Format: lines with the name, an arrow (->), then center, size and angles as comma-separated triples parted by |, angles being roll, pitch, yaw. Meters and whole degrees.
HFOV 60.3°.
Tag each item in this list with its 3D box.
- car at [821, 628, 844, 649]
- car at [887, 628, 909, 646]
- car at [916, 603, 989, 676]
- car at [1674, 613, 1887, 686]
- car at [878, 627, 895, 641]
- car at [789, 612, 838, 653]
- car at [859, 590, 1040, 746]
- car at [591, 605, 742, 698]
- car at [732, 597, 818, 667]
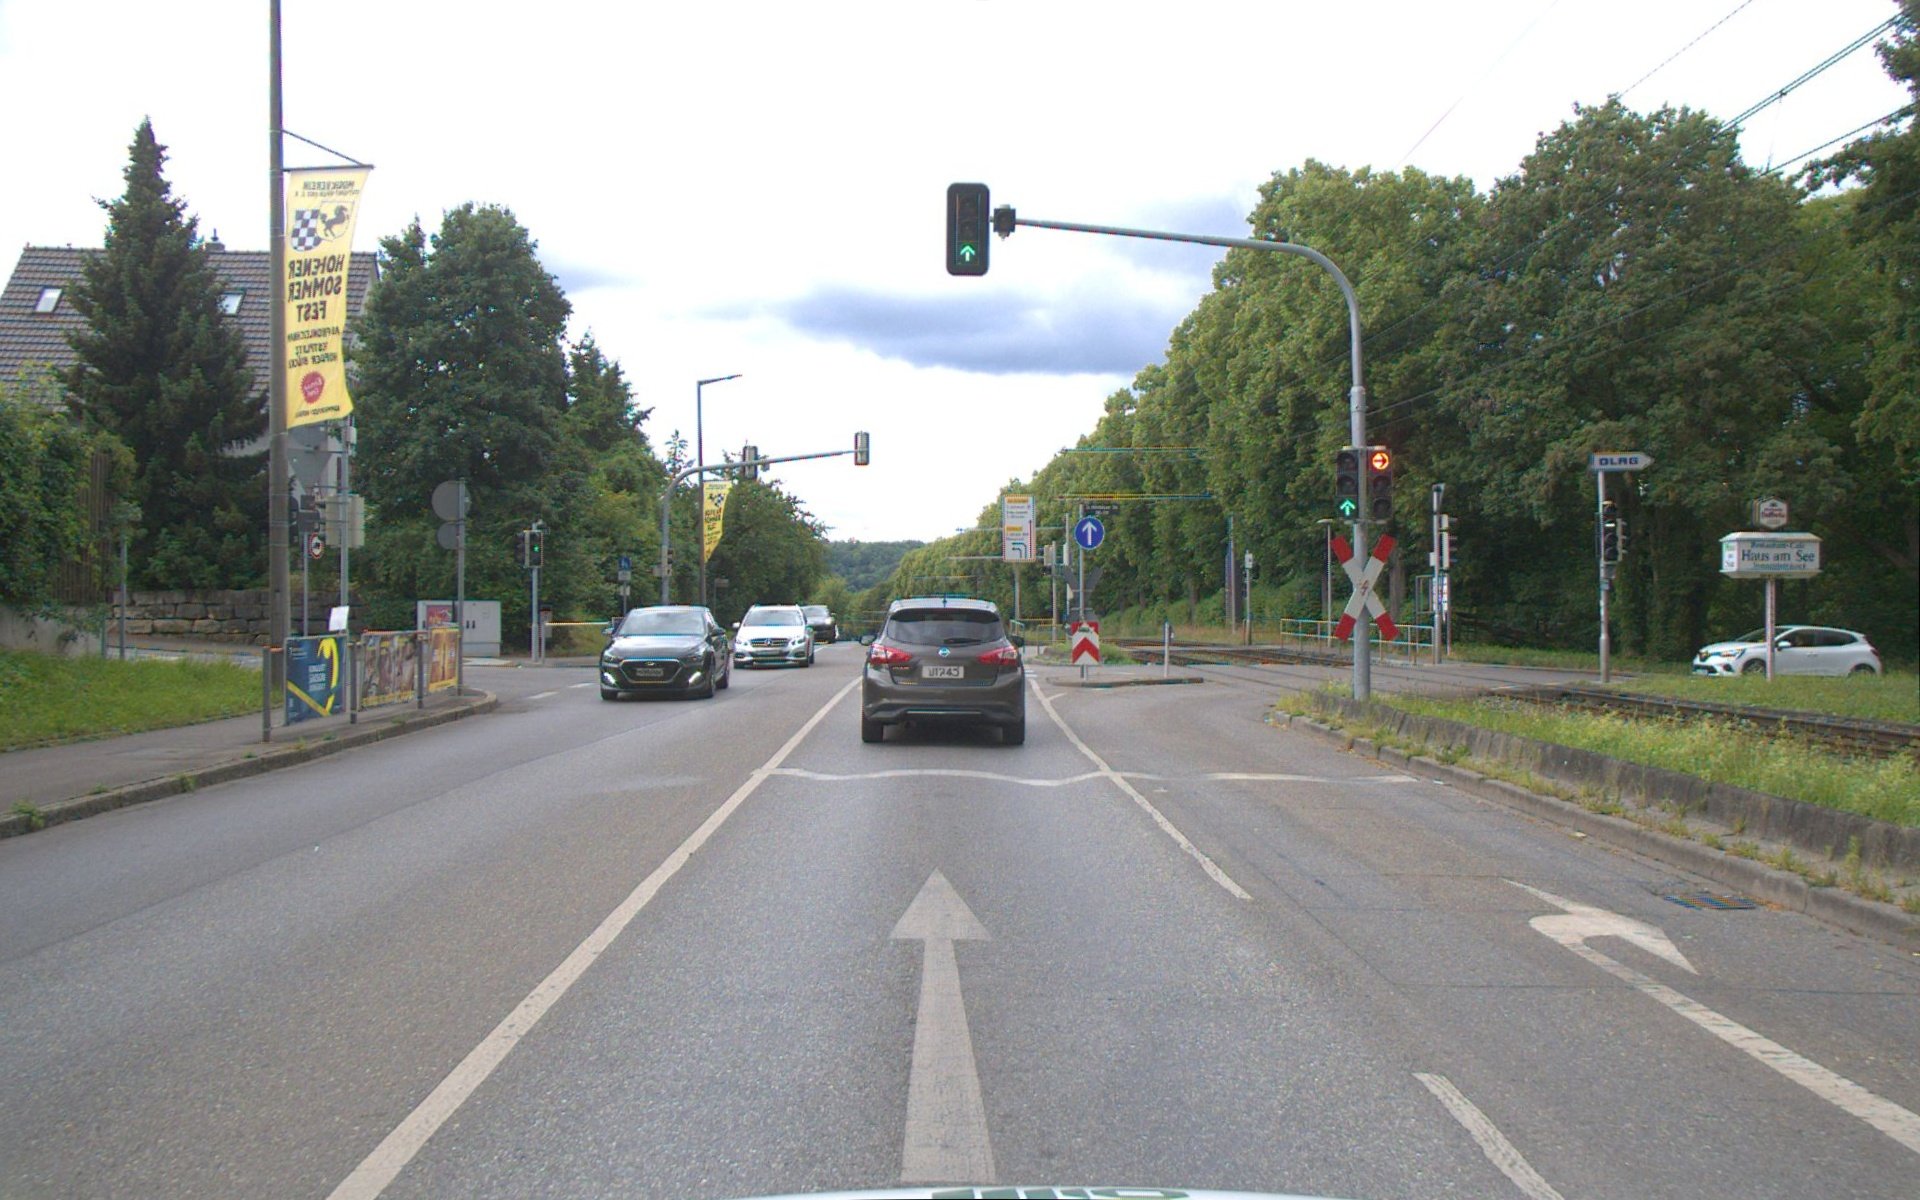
car -> -10.559, 3.203, 137.251 | 1.749, 1.725, 3.998 | 0, -1, -2
car -> -5.093, 2.983, 134.915 | 1.707, 1.333, 3.998 | 2, 0, -3
car -> -0.185, 0.838, 36.871 | 1.507, 1.504, 3.763 | -1, 0, -1
car -> 18.902, 1.128, 38.199 | 3.911, 1.377, 1.997 | 4, 0, -7
car -> -7.643, 3.539, 171.451 | 1.707, 1.333, 3.998 | 2, 0, -3
car -> -6.142, 1.382, 69.798 | 1.863, 1.601, 4.479 | 1, -1, -3
car -> -0.132, 0.684, 19.002 | 1.798, 1.545, 4.482 | 1, 0, -1
car -> -4.761, 0.796, 27.368 | 1.775, 1.397, 4.160 | 0, 0, 0
car -> -4.543, 0.745, 41.226 | 1.782, 1.594, 5.202 | 1, 0, -3
